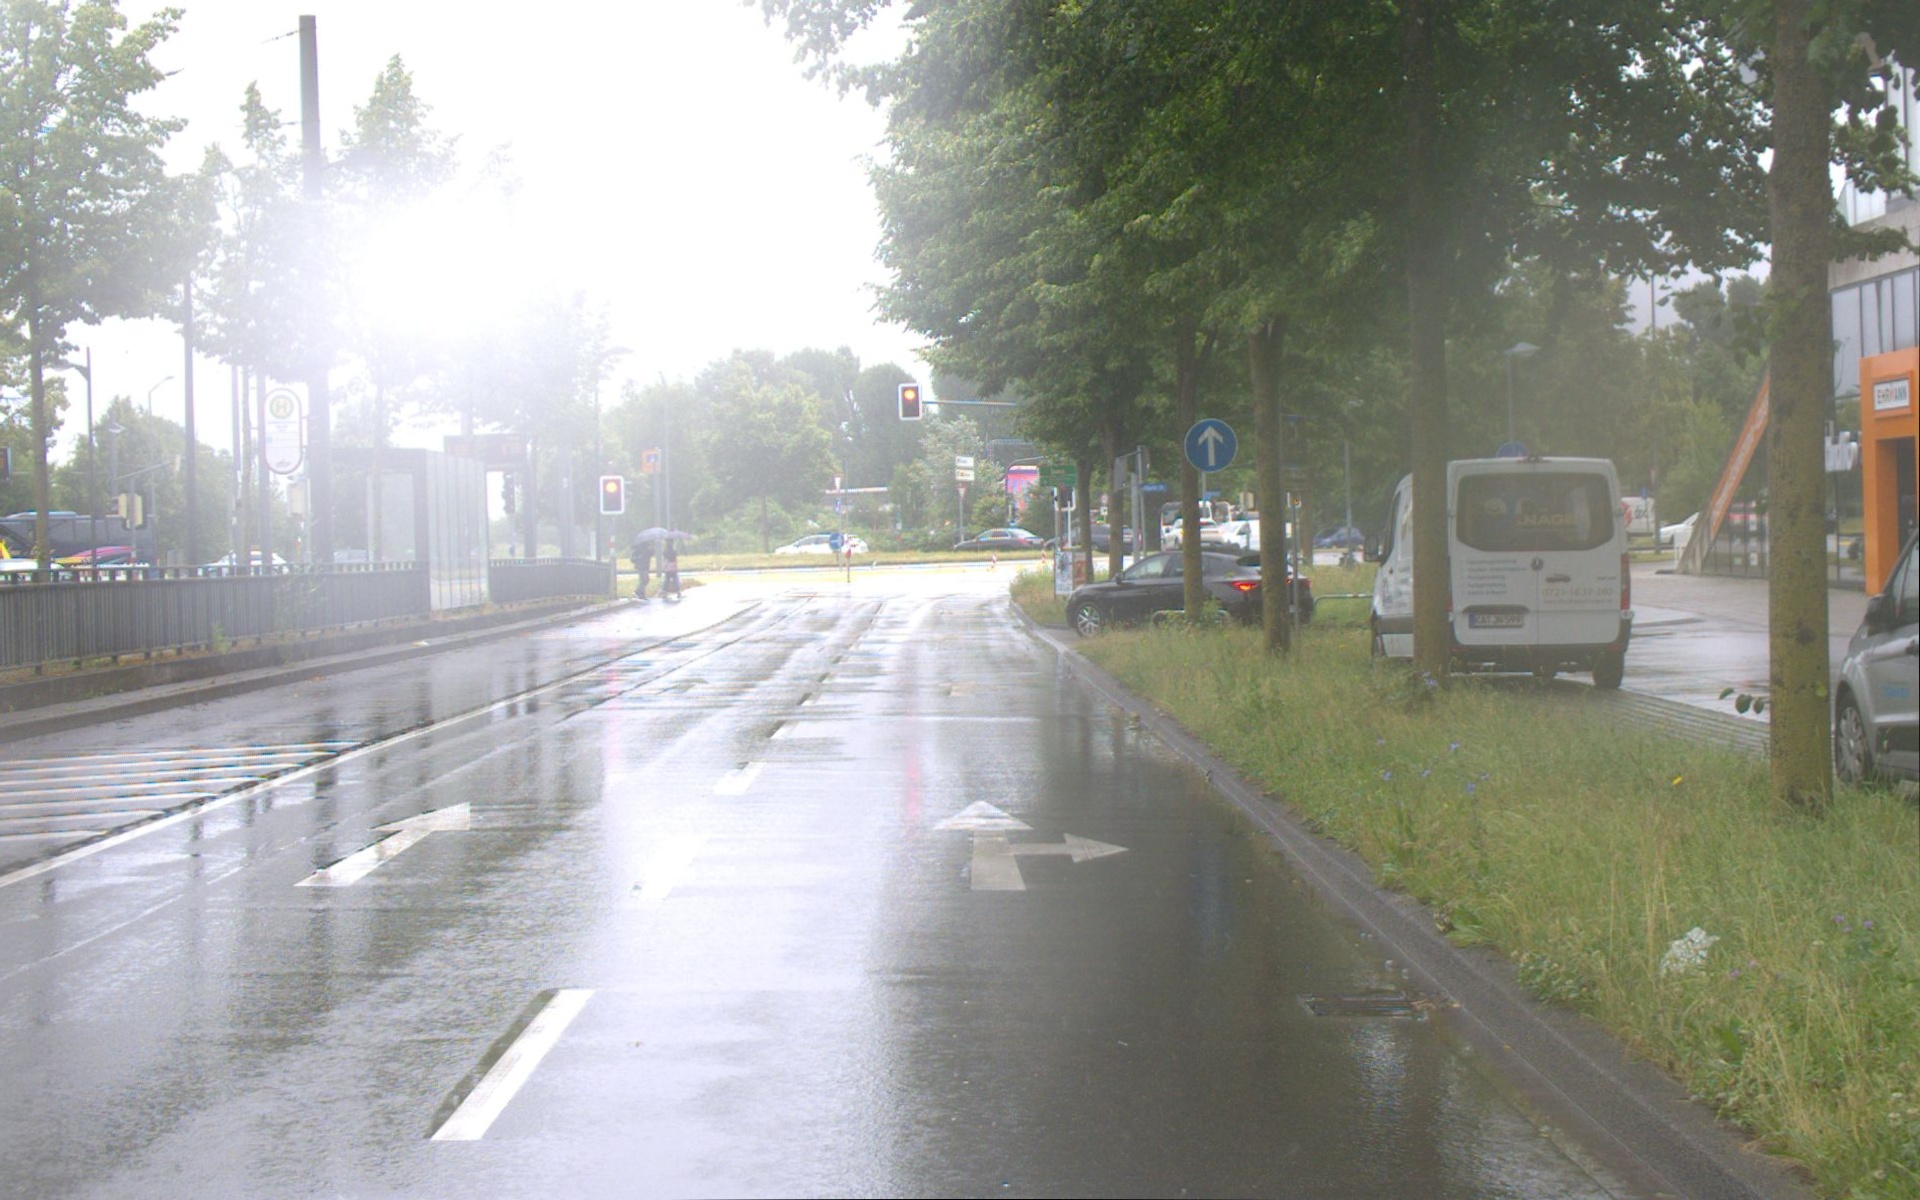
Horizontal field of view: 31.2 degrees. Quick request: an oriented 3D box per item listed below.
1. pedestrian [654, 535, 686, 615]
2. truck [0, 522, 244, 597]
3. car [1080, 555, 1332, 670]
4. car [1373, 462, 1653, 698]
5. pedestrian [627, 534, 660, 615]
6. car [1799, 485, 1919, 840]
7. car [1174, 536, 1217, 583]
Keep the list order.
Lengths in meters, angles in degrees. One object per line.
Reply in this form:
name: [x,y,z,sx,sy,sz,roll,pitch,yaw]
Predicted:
pedestrian: [-7.432,-0.642,88.136,0.697,2.006,0.656,-1,3,0]
truck: [-38.003,-1.722,147.281,3.520,3.136,14.868,0,1,45]
car: [3.741,0.159,52.853,1.815,1.539,4.000,-3,3,-32]
car: [5.684,-0.223,35.917,2.121,2.266,4.565,-1,1,0]
pedestrian: [-7.989,-0.652,86.724,0.698,2.006,0.656,-1,3,2]
car: [5.767,0.299,17.251,1.906,1.785,4.688,-1,1,0]
car: [9.339,-1.601,136.309,1.623,1.694,3.456,-1,3,3]
